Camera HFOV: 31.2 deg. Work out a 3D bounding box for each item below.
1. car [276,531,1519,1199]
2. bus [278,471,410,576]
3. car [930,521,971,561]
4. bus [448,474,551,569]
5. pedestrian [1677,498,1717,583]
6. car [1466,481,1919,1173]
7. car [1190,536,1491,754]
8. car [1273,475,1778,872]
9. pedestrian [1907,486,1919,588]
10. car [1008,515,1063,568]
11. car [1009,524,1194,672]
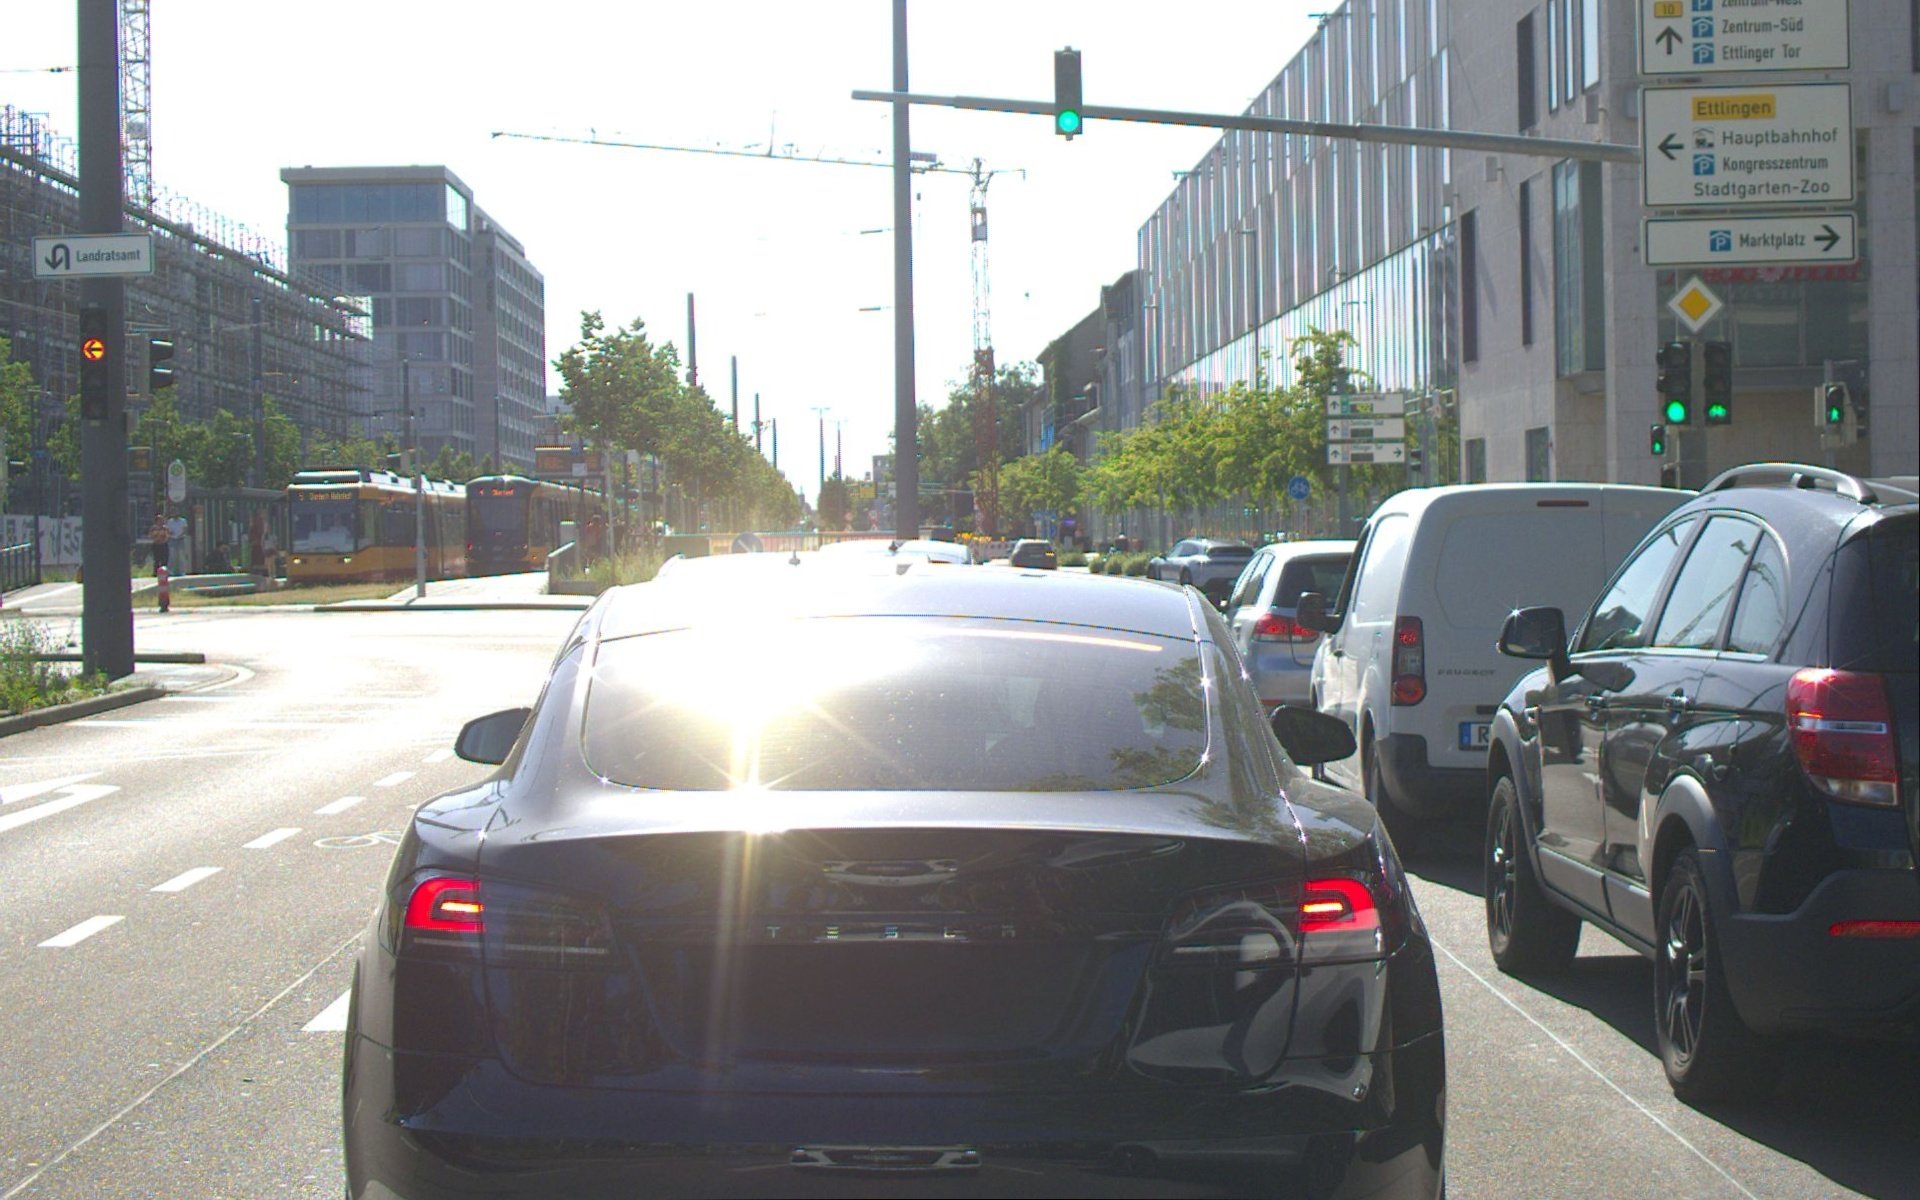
[{"bbox_3d":[-0.150,0.614,7.320,1.912,1.481,4.010,-1,1,-2],"label":"car"},{"bbox_3d":[-17.459,-2.113,97.916,2.627,2.773,8.845,1,0,-4],"label":"bus"},{"bbox_3d":[-0.501,-3.028,176.758,1.993,2.007,4.000,1,0,-1],"label":"car"},{"bbox_3d":[-15.268,-2.557,114.461,2.627,2.949,9.900,1,0,-4],"label":"bus"},{"bbox_3d":[12.631,-1.017,58.933,0.562,1.435,0.631,1,0,6],"label":"pedestrian"},{"bbox_3d":[2.734,0.481,10.290,1.721,1.647,4.187,-1,1,-1],"label":"car"},{"bbox_3d":[2.718,0.266,25.377,1.721,1.427,4.186,-1,1,0],"label":"car"},{"bbox_3d":[2.746,0.277,17.599,1.721,1.776,4.187,-1,1,-2],"label":"car"},{"bbox_3d":[13.735,-0.880,48.571,0.562,1.435,0.631,1,0,6],"label":"pedestrian"},{"bbox_3d":[2.980,-2.300,136.437,1.993,2.007,4.000,1,0,-1],"label":"car"},{"bbox_3d":[1.428,-0.061,35.983,1.721,1.427,4.186,-1,1,0],"label":"car"}]
